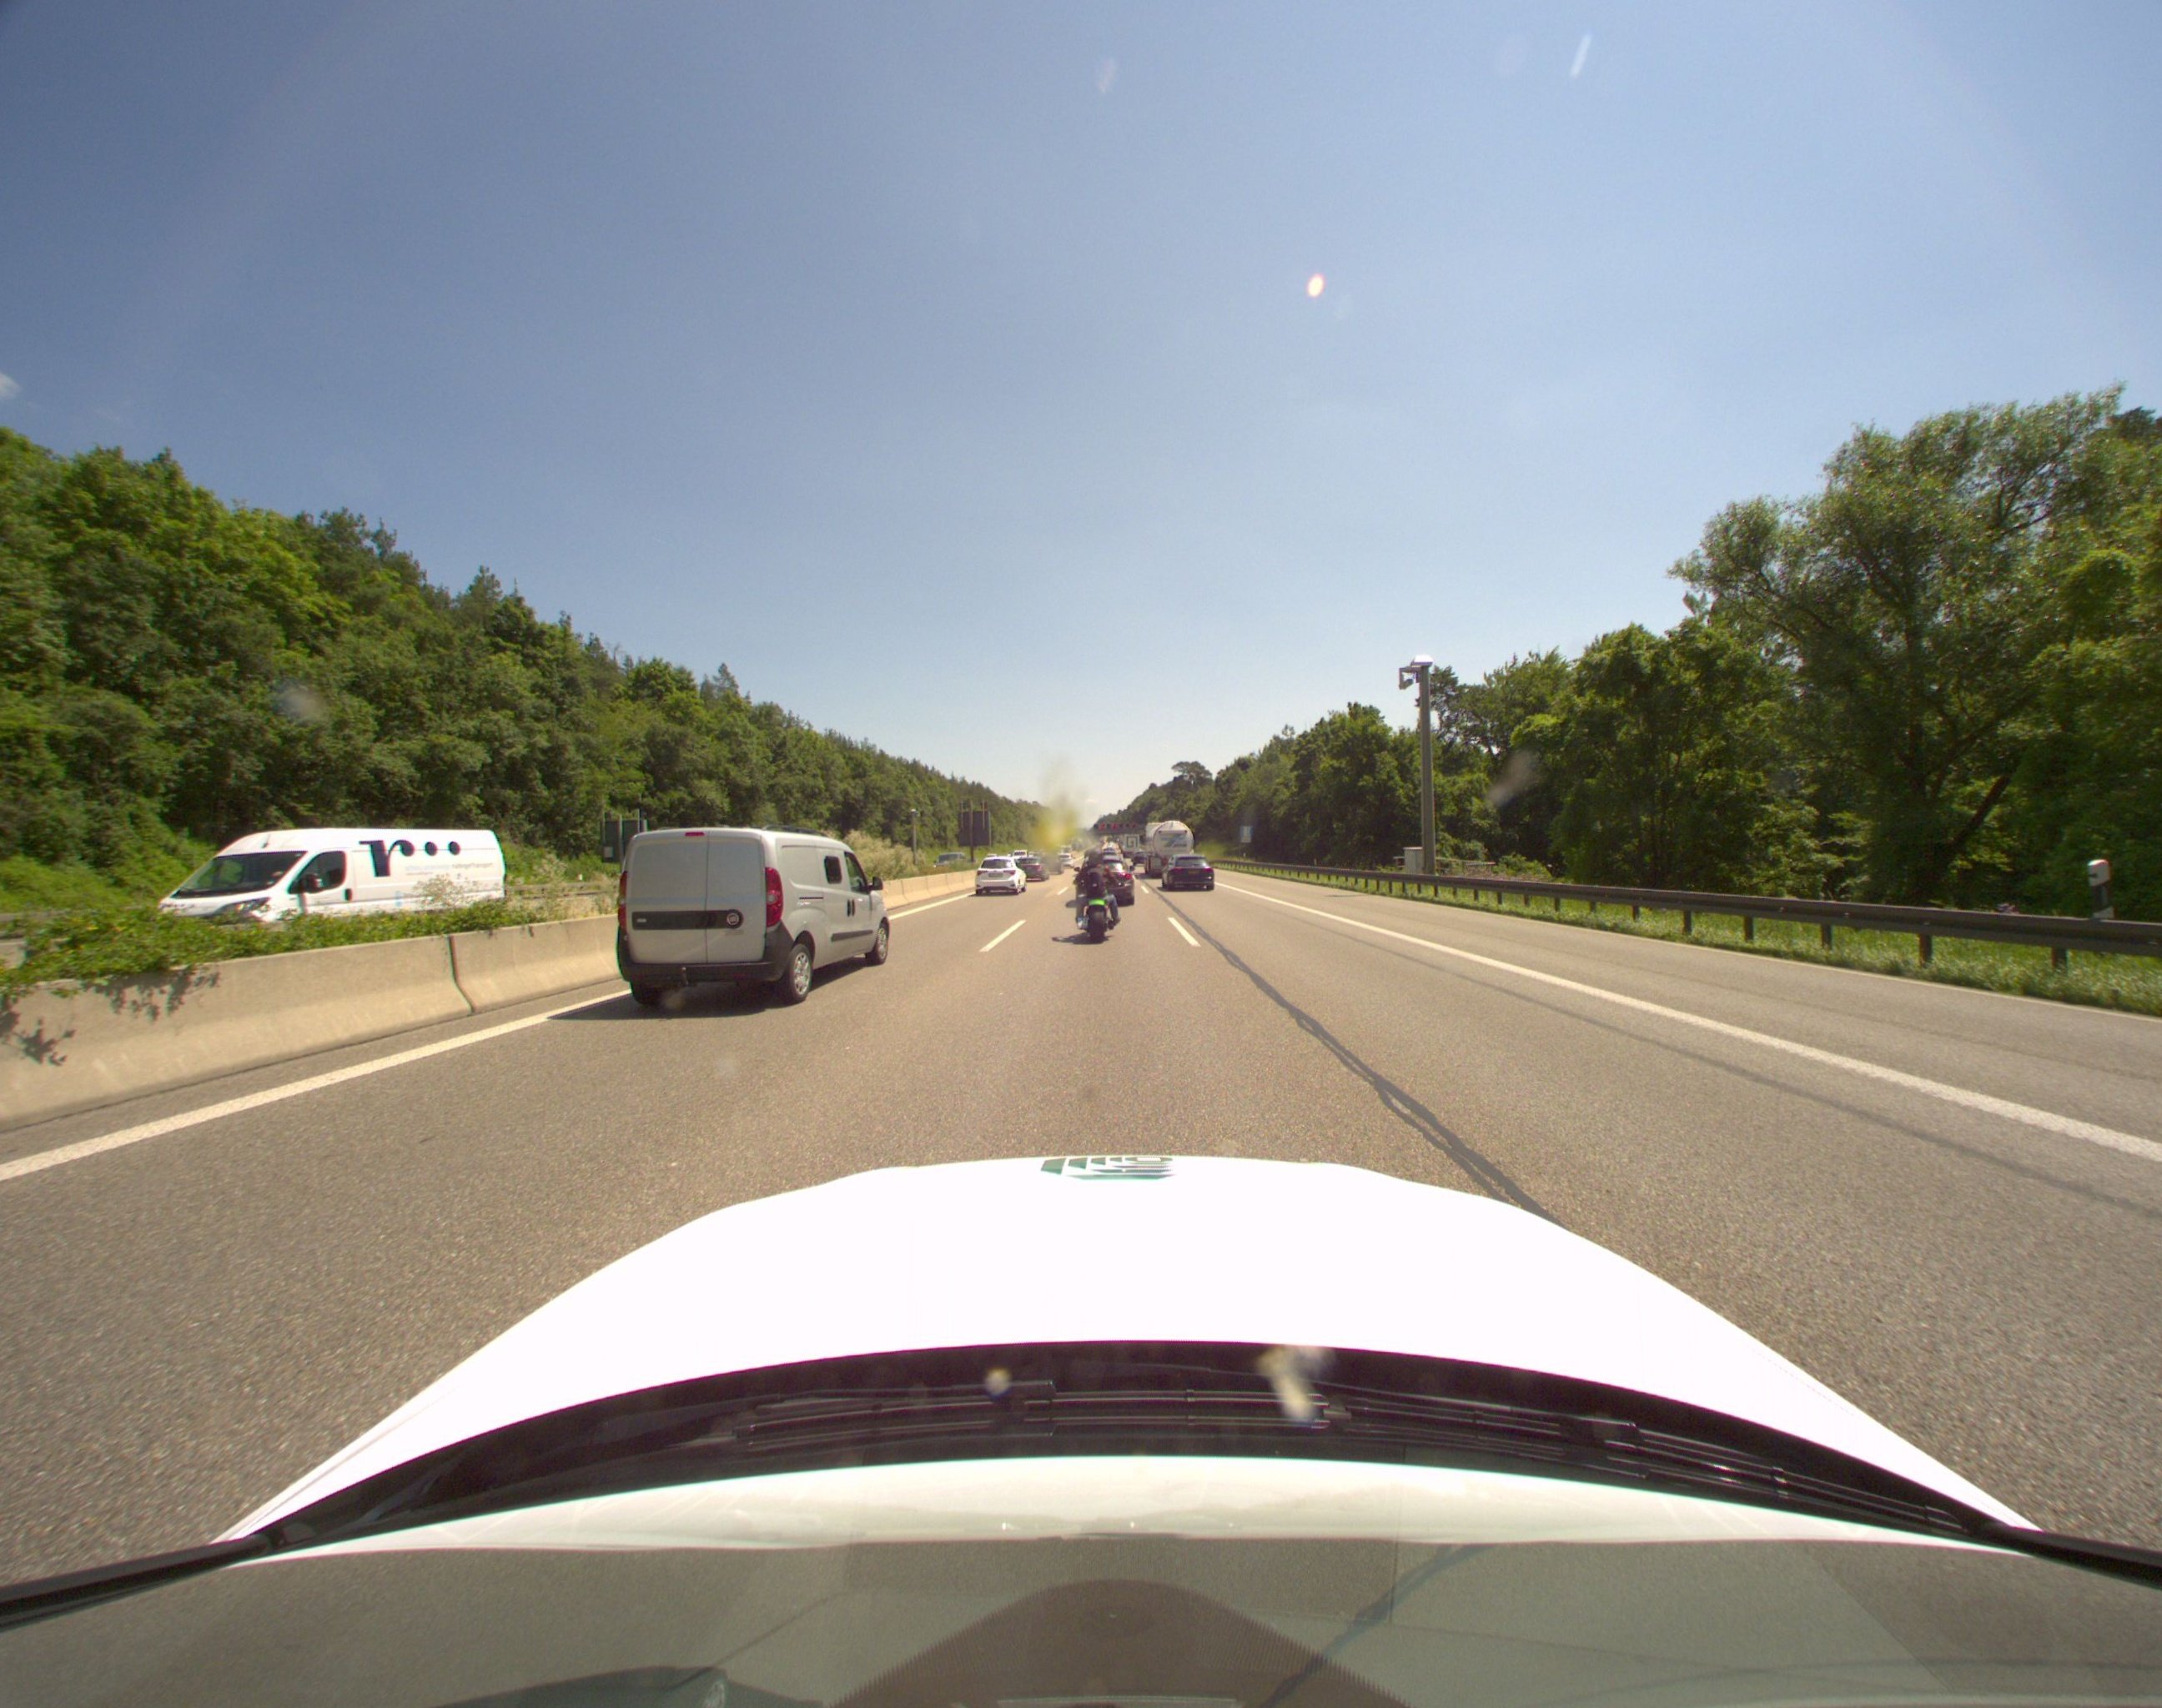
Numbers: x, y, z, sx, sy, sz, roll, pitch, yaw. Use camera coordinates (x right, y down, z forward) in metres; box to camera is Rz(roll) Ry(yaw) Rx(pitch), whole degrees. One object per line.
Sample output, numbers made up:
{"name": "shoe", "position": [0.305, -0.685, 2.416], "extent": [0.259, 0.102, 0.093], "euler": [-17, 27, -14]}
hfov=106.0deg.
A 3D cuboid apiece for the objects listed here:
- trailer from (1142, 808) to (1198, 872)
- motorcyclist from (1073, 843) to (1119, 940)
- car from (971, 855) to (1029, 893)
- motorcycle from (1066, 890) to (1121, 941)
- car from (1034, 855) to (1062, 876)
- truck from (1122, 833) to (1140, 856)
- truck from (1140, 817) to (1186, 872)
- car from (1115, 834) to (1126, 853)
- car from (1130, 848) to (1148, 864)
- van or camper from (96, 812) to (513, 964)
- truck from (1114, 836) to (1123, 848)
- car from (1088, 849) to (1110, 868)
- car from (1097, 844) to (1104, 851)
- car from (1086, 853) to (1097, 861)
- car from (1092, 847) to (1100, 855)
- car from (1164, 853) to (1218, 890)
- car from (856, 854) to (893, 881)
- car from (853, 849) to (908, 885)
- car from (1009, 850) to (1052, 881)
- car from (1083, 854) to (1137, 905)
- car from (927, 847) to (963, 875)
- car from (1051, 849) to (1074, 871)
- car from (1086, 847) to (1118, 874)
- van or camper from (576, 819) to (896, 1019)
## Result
{"name": "trailer", "position": [5.545, -0.700, 52.417], "extent": [2.817, 3.671, 10.736], "euler": [-1, -1, 2]}
{"name": "motorcyclist", "position": [0.278, 0.660, 14.765], "extent": [0.796, 1.688, 1.017], "euler": [-1, -2, 2]}
{"name": "car", "position": [-3.202, 0.779, 32.729], "extent": [1.769, 1.411, 4.002], "euler": [-1, 0, 2]}
{"name": "motorcycle", "position": [0.265, 1.105, 15.069], "extent": [0.932, 0.793, 2.300], "euler": [-1, -1, 2]}
{"name": "car", "position": [-2.412, 0.873, 60.602], "extent": [1.988, 1.464, 3.997], "euler": [-1, -1, -2]}
{"name": "truck", "position": [8.738, -1.585, 141.000], "extent": [2.840, 3.822, 7.196], "euler": [-1, -1, 5]}
{"name": "truck", "position": [5.766, -0.560, 58.066], "extent": [2.817, 3.671, 6.432], "euler": [-1, -1, 2]}
{"name": "car", "position": [8.675, -2.236, 178.662], "extent": [2.159, 3.893, 9.333], "euler": [-1, -1, 2]}
{"name": "car", "position": [6.102, 0.233, 86.357], "extent": [1.769, 1.527, 4.001], "euler": [-1, -1, 2]}
{"name": "van or camper", "position": [-14.664, 0.627, 16.210], "extent": [2.144, 2.423, 6.198], "euler": [-1, -1, 2]}
{"name": "truck", "position": [12.049, -3.710, 259.301], "extent": [2.686, 3.405, 10.483], "euler": [-2, -1, 2]}
{"name": "car", "position": [1.732, 0.456, 77.116], "extent": [1.986, 1.775, 4.000], "euler": [-1, -1, 1]}
{"name": "car", "position": [5.790, -2.012, 246.748], "extent": [1.986, 2.014, 4.002], "euler": [-2, -1, 2]}
{"name": "car", "position": [1.816, 0.523, 144.920], "extent": [1.757, 1.442, 4.003], "euler": [-1, 0, 3]}
{"name": "car", "position": [3.468, -0.670, 189.156], "extent": [1.654, 1.599, 4.002], "euler": [-1, -1, 3]}
{"name": "car", "position": [4.519, 0.739, 34.100], "extent": [1.785, 1.459, 4.626], "euler": [-1, -1, 2]}
{"name": "car", "position": [-15.888, 1.074, 62.847], "extent": [1.988, 2.014, 3.997], "euler": [-1, -1, -2]}
{"name": "car", "position": [-11.873, 0.714, 48.481], "extent": [1.985, 2.013, 4.274], "euler": [-1, 0, 3]}
{"name": "car", "position": [-2.864, 0.690, 47.044], "extent": [1.986, 1.684, 4.332], "euler": [-1, -1, 2]}
{"name": "car", "position": [0.899, 0.745, 25.375], "extent": [1.535, 1.450, 4.002], "euler": [-1, -1, 2]}
{"name": "car", "position": [-10.225, 0.525, 61.283], "extent": [1.987, 2.013, 4.000], "euler": [-1, 0, 0]}
{"name": "car", "position": [-1.782, 0.619, 79.793], "extent": [1.986, 2.014, 4.001], "euler": [-1, -1, 1]}
{"name": "car", "position": [1.341, 0.469, 53.104], "extent": [1.986, 1.711, 4.000], "euler": [-1, -1, 1]}
{"name": "van or camper", "position": [-3.797, 0.621, 10.004], "extent": [1.846, 1.880, 4.563], "euler": [-1, 0, 2]}
